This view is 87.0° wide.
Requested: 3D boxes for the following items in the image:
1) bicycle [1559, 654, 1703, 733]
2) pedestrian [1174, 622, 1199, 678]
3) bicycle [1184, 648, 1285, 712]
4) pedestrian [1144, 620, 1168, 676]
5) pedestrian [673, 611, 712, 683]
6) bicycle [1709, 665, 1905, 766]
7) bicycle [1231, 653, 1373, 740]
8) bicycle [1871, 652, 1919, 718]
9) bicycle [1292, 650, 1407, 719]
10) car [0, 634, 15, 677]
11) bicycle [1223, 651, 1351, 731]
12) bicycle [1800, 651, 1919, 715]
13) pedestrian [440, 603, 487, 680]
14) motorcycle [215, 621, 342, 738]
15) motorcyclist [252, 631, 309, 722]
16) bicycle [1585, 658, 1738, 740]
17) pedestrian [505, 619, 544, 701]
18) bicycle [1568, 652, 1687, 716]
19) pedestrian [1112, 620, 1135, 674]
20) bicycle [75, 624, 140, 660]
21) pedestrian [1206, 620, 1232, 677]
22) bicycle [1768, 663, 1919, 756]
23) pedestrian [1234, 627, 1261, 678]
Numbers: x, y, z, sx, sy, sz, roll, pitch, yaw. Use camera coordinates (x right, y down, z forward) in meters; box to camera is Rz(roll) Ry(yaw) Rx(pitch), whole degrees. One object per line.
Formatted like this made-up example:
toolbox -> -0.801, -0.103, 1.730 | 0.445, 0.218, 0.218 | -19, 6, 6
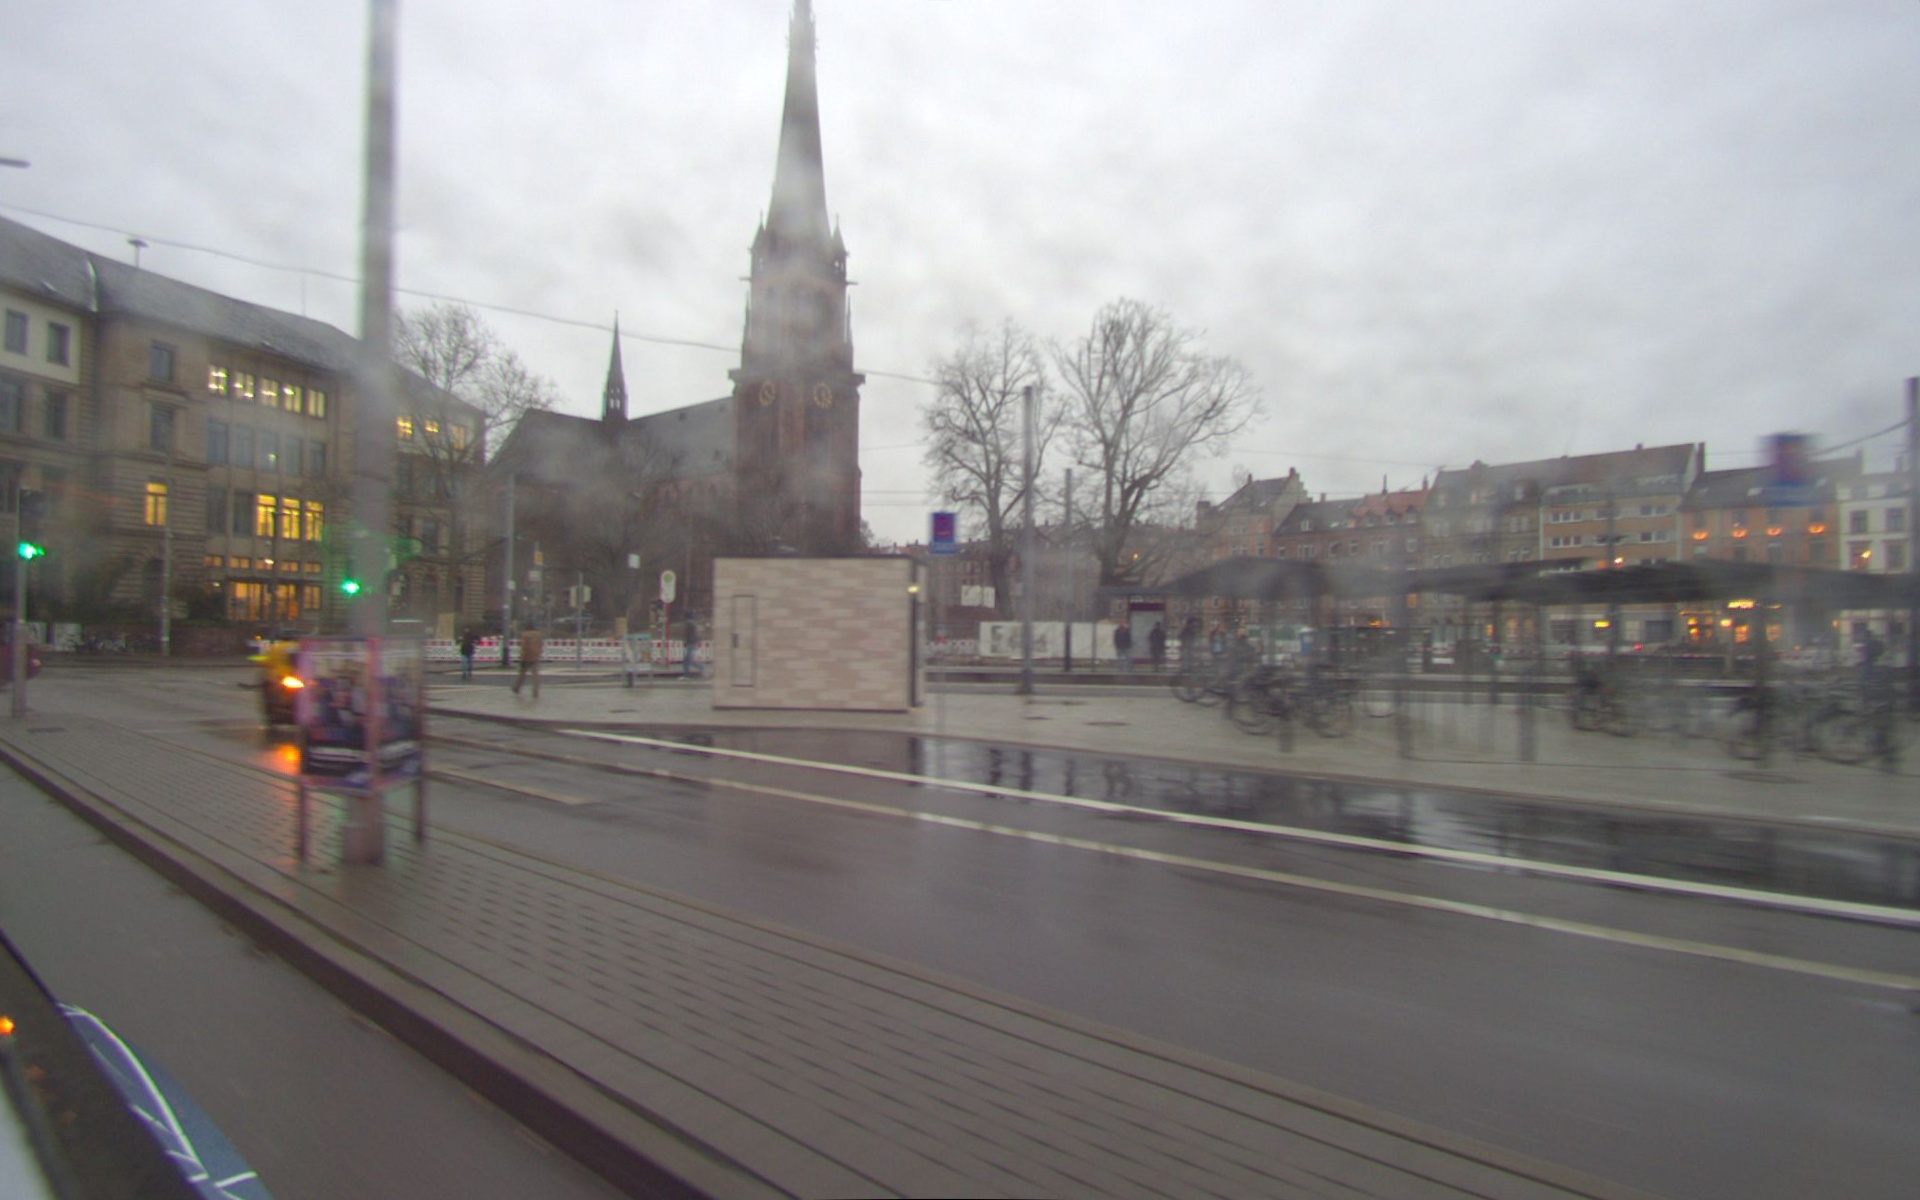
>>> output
bicycle -> 10.994, 1.518, 16.620 | 1.879, 1.174, 0.548 | 1, 0, 12
pedestrian -> 7.464, 1.635, 33.341 | 0.708, 1.820, 0.713 | 1, -1, 7
bicycle -> 5.393, 1.564, 19.992 | 1.879, 1.174, 0.548 | 1, 0, 12
pedestrian -> 6.504, 1.583, 33.547 | 0.708, 1.820, 0.713 | 1, -1, 7
pedestrian -> -6.949, 1.210, 26.304 | 0.816, 1.827, 0.603 | 1, 0, 10
bicycle -> 10.857, 1.467, 13.024 | 1.879, 1.174, 0.548 | 1, 0, 12
bicycle -> 5.029, 1.404, 14.989 | 1.922, 1.174, 0.548 | 1, 0, 12
bicycle -> 18.179, 1.583, 18.767 | 1.879, 1.174, 0.548 | 1, 0, 12
bicycle -> 7.118, 1.530, 18.539 | 1.879, 1.174, 0.548 | 1, 0, 12
car -> -33.326, 1.817, 33.543 | 4.350, 1.389, 1.734 | -1, -4, 31
bicycle -> 5.193, 1.435, 16.176 | 1.879, 1.174, 0.548 | 1, 0, 12
bicycle -> 17.811, 1.625, 19.935 | 1.879, 1.174, 0.548 | 1, 0, 12
pedestrian -> -15.951, 1.299, 32.507 | 1.062, 2.388, 0.984 | 1, 0, 36
motorcycle -> -9.591, 1.062, 14.206 | 2.312, 1.509, 0.821 | -1, -3, 39
motorcyclist -> -9.453, 1.047, 14.080 | 0.611, 1.202, 0.530 | 1, 0, 41
bicycle -> 10.916, 1.524, 15.794 | 1.879, 1.174, 0.548 | 1, 0, 12
pedestrian -> -9.168, 1.248, 21.325 | 0.663, 1.687, 0.732 | 0, 0, -18
bicycle -> 13.215, 1.655, 20.081 | 1.879, 1.174, 0.548 | 1, 0, 12
pedestrian -> 5.422, 1.555, 33.644 | 0.708, 1.770, 0.713 | 1, -1, 7
bicycle -> -42.162, 2.077, 50.102 | 2.388, 1.701, 0.715 | 0, 0, -33
pedestrian -> 8.529, 1.591, 33.312 | 0.708, 1.820, 0.713 | 1, -1, 7
bicycle -> 12.353, 1.494, 13.921 | 1.879, 1.174, 0.548 | 1, 0, 12
pedestrian -> 9.471, 1.717, 33.365 | 0.708, 1.630, 0.713 | 1, -1, 7
